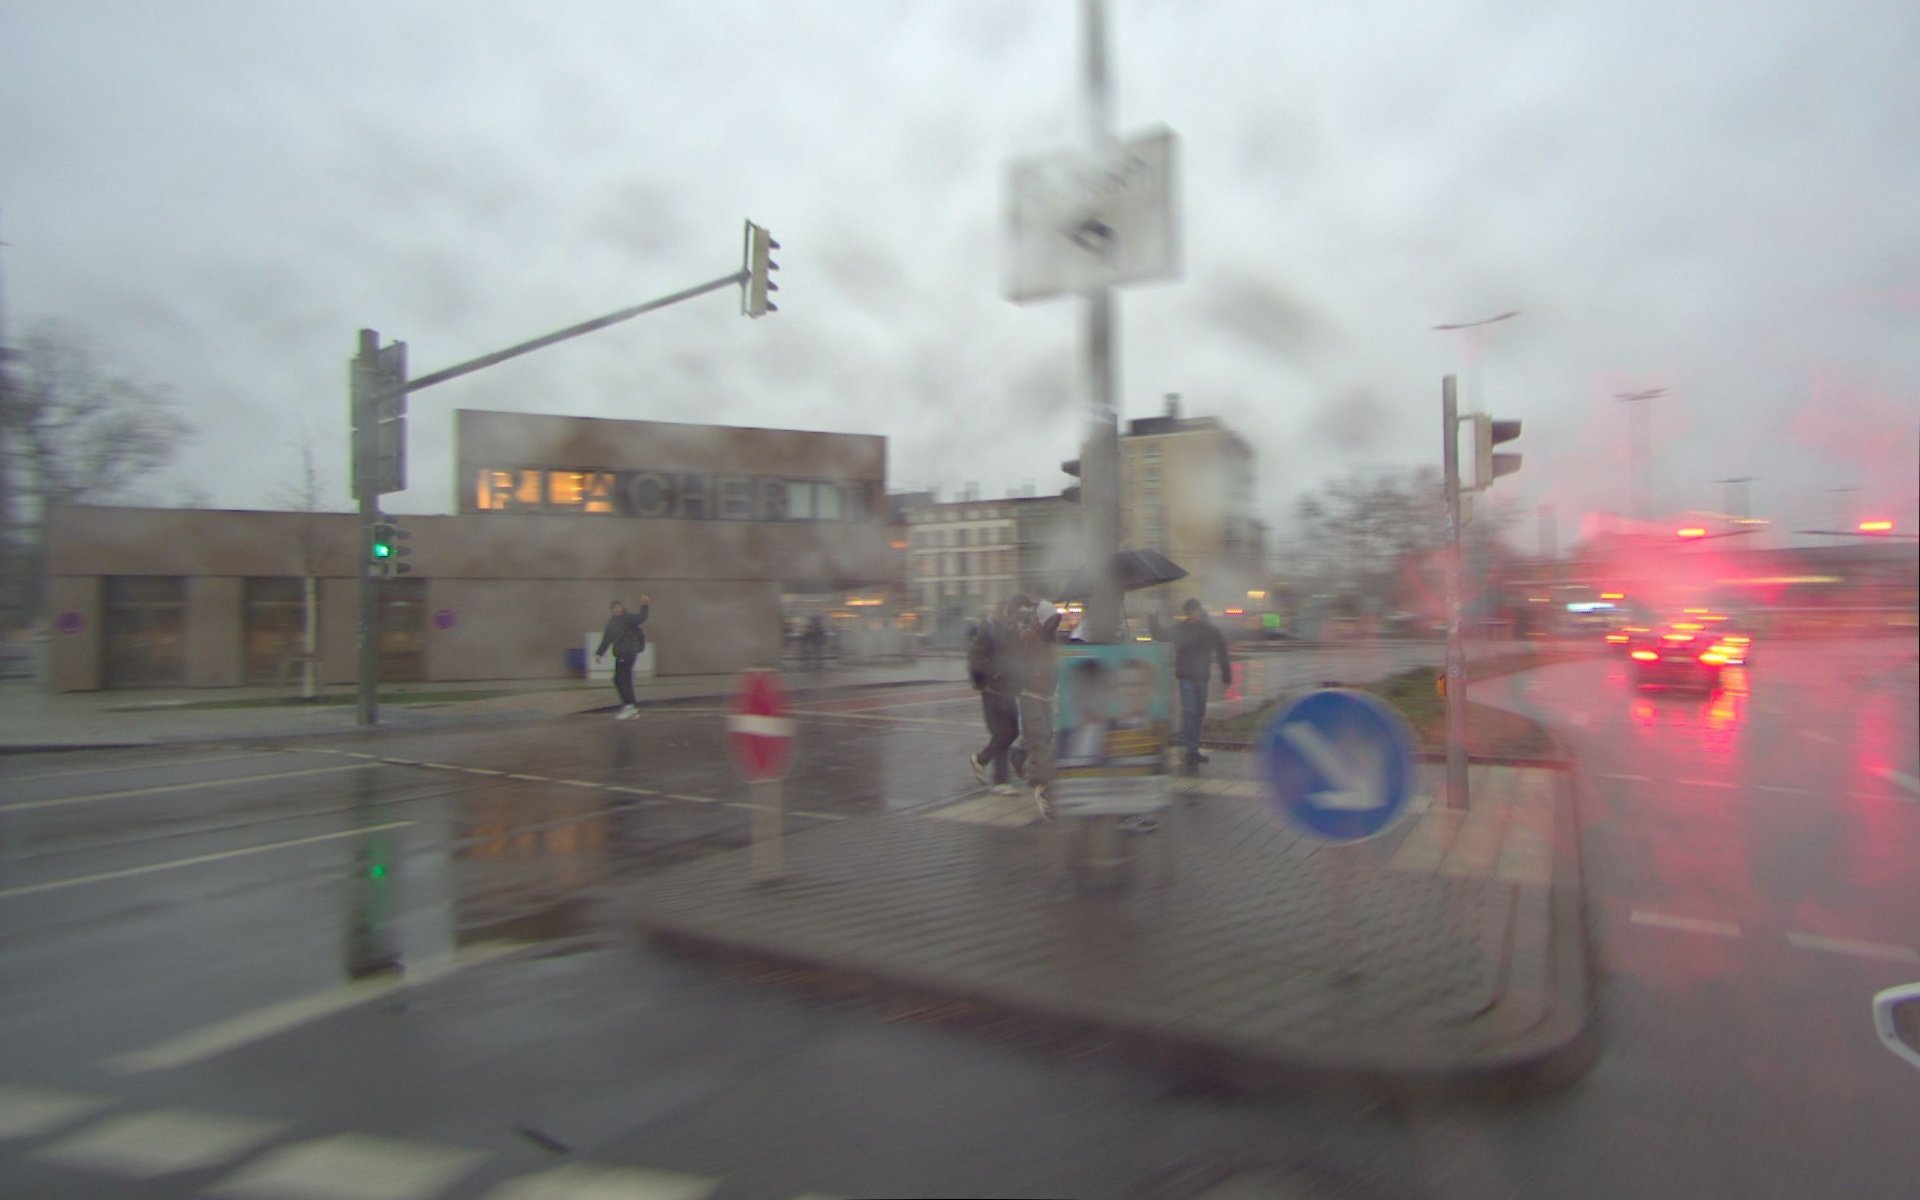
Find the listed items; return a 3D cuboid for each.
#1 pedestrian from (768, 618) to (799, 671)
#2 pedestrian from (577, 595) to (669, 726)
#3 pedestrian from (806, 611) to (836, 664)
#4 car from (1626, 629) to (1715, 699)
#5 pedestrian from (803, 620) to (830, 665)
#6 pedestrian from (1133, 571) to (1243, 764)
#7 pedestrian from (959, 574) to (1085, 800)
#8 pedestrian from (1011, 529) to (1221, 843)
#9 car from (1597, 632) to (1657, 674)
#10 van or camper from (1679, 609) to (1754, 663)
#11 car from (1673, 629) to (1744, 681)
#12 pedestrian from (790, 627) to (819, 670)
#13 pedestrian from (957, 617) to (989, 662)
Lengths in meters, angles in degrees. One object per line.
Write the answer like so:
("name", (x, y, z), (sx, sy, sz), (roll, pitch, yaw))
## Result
("pedestrian", (-5.961, 1.487, 33.860), (0.738, 1.749, 0.733), (0, -2, -43))
("pedestrian", (-5.114, 0.884, 15.351), (1.016, 1.883, 1.233), (-2, 1, -5))
("pedestrian", (-4.735, 1.285, 34.231), (0.649, 1.791, 0.833), (-2, -2, 22))
("car", (17.829, 1.537, 25.312), (1.677, 1.501, 3.860), (2, 0, 34))
("pedestrian", (-5.813, 1.727, 40.791), (0.785, 1.774, 0.762), (-2, -2, 21))
("pedestrian", (2.507, 0.715, 11.070), (1.087, 2.032, 0.848), (-1, 1, 13))
("pedestrian", (0.540, 0.730, 9.008), (1.015, 1.883, 1.070), (-1, 1, 2))
("pedestrian", (1.165, 0.572, 7.387), (1.193, 2.077, 1.033), (-1, 1, 30))
("car", (30.855, 2.401, 46.396), (1.863, 1.795, 3.981), (-1, -2, 40))
("van or camper", (32.050, 1.492, 42.493), (2.177, 2.137, 4.961), (0, -1, 42))
("car", (22.870, 1.642, 30.788), (1.637, 1.422, 4.106), (1, -1, 35))
("pedestrian", (-6.059, 1.886, 39.132), (0.951, 1.624, 0.852), (0, -2, -22))
("pedestrian", (0.564, 1.719, 44.044), (1.105, 1.944, 1.059), (-1, -2, -17))
